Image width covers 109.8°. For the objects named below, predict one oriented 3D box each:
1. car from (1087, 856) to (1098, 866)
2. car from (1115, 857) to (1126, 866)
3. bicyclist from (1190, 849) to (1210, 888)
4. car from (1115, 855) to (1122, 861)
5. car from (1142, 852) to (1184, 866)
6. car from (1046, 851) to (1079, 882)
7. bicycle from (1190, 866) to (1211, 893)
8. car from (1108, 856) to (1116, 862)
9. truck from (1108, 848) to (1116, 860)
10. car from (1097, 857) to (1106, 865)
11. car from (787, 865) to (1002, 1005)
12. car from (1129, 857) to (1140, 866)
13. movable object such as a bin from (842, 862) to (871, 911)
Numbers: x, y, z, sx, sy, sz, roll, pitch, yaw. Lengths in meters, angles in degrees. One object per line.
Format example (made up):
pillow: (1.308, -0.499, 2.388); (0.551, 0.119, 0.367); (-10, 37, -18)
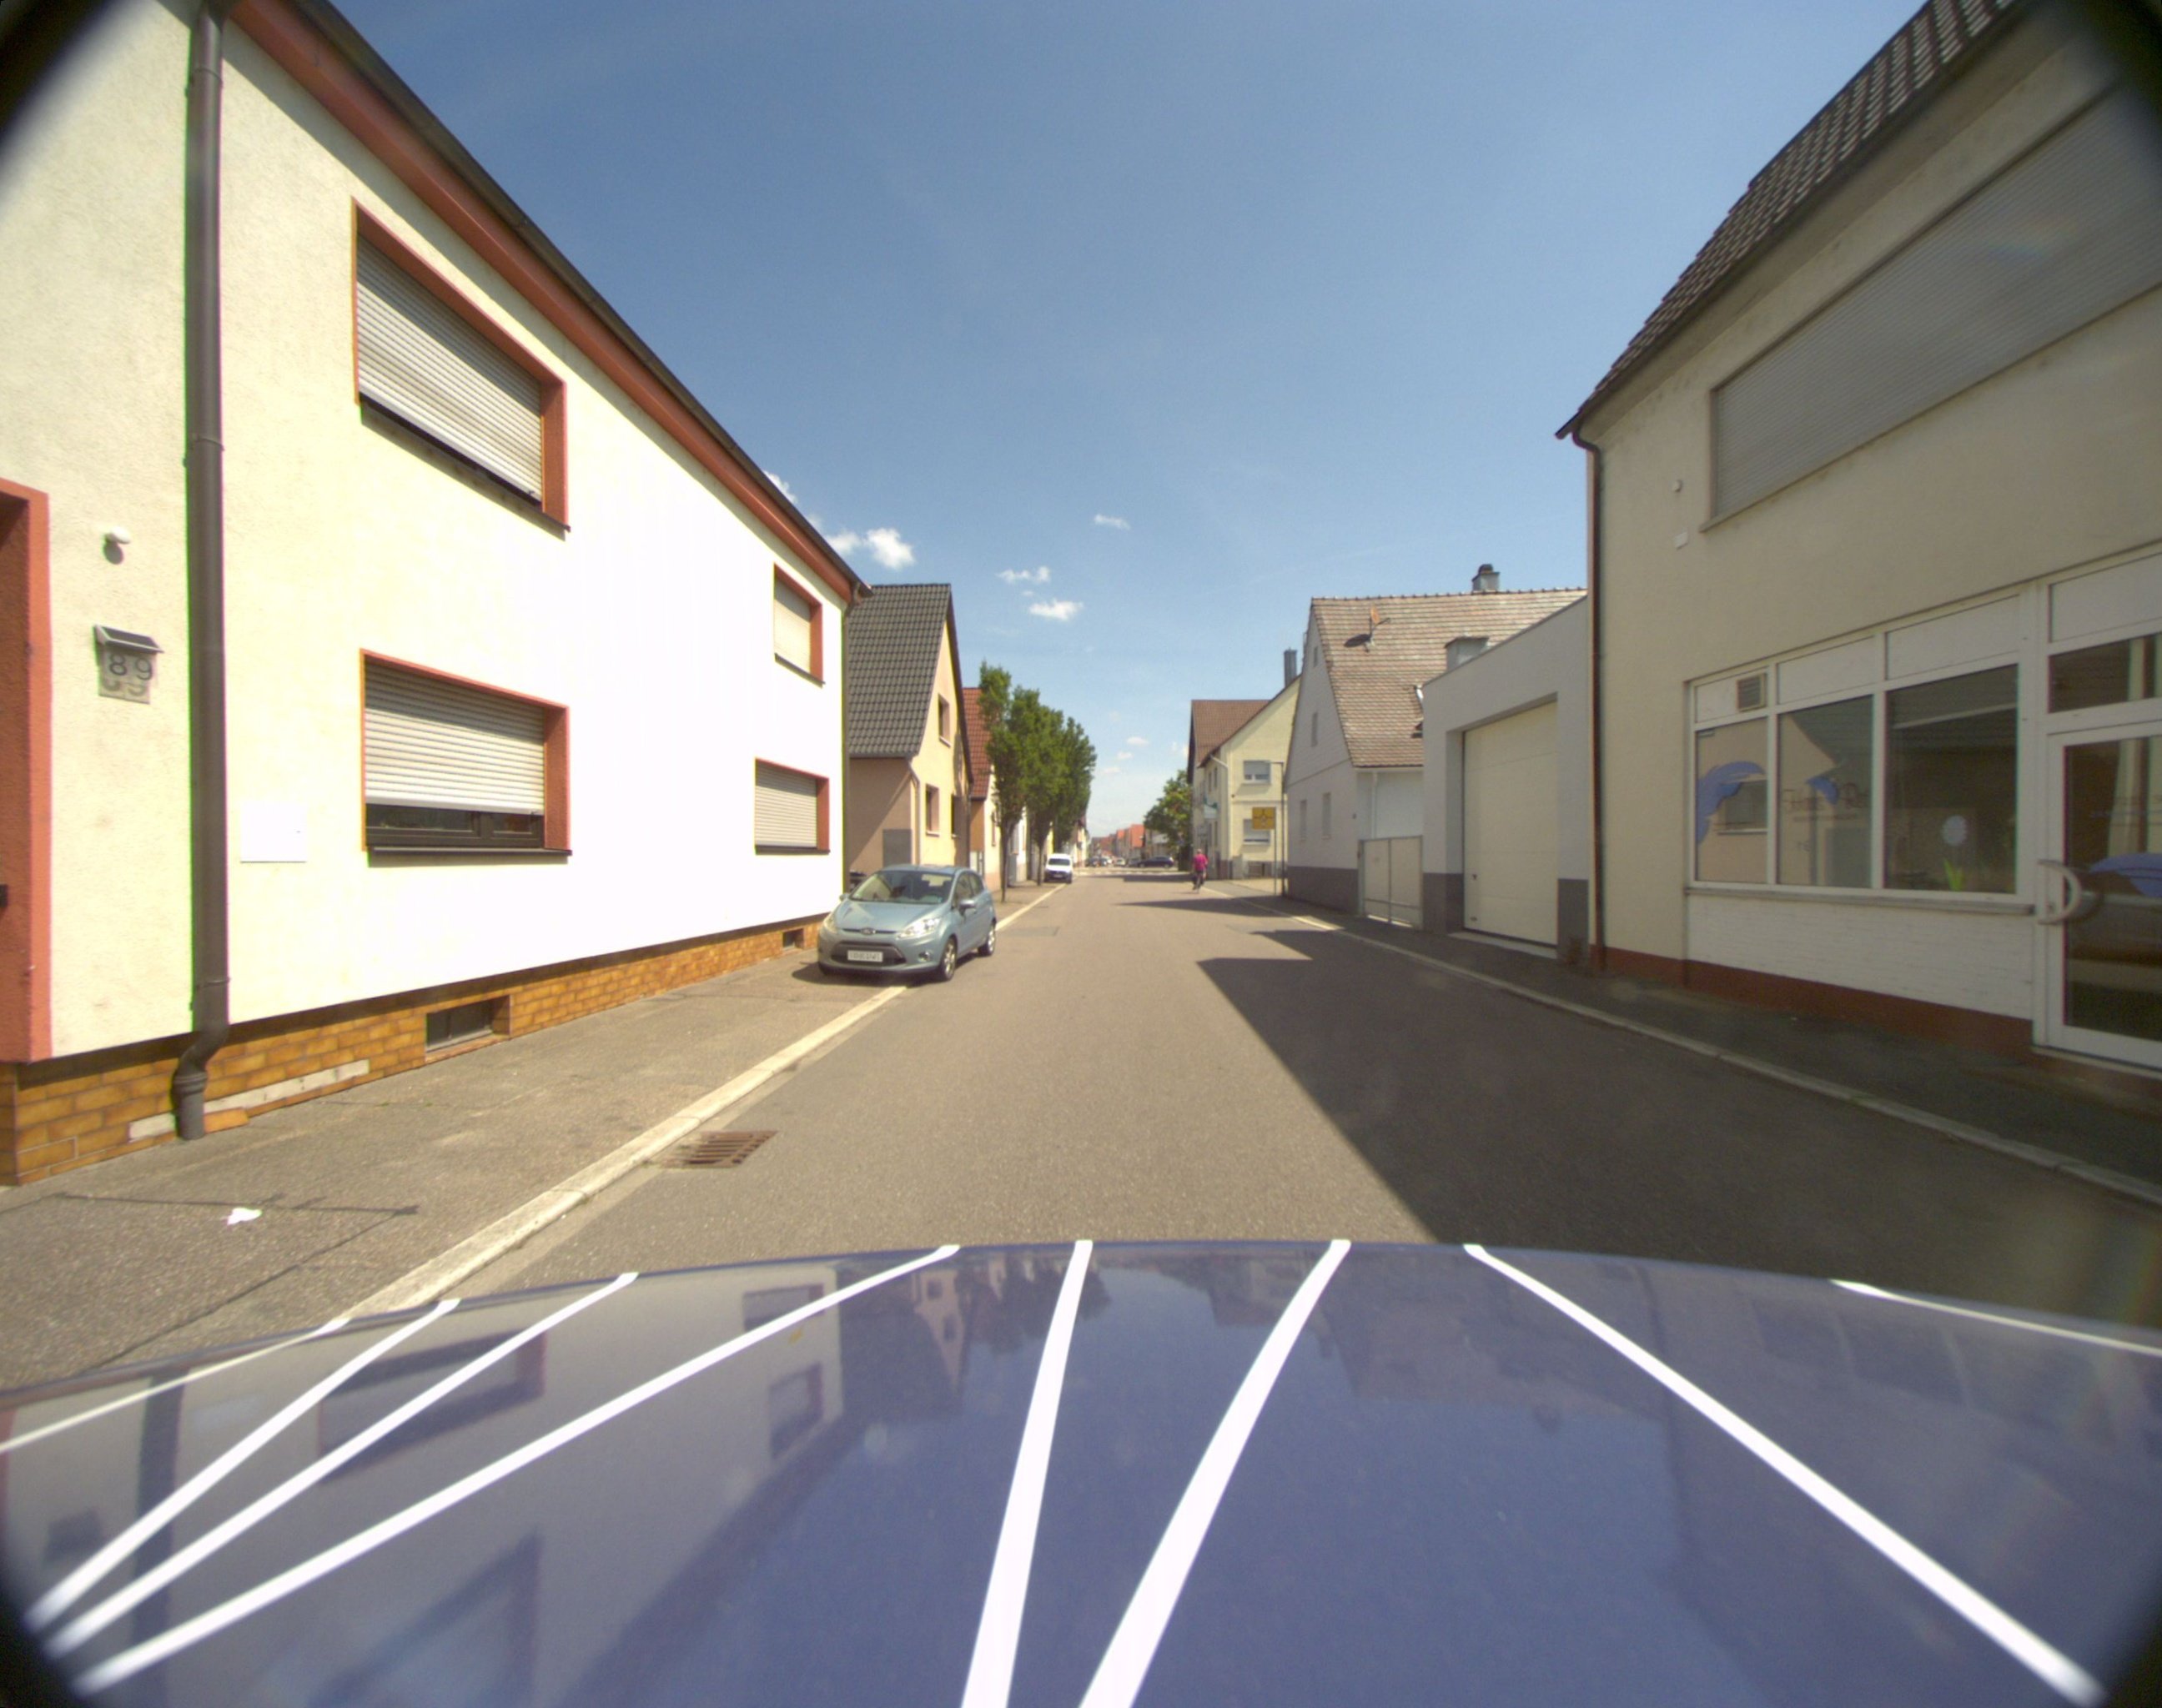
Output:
car: (1.759, 1.100, 115.728); (1.598, 1.385, 4.171); (-1, -2, 3)
car: (6.475, 1.209, 125.326); (1.598, 1.385, 4.168); (-2, 0, 2)
bicyclist: (5.046, 0.606, 32.157); (0.748, 1.627, 0.957); (-1, 1, 5)
car: (9.972, 1.050, 203.021); (1.726, 1.385, 4.171); (-1, -2, 4)
car: (9.903, 0.619, 91.646); (4.834, 1.636, 2.002); (-1, 0, 12)
car: (-1.105, 0.728, 47.659); (1.692, 1.832, 4.765); (2, 0, 2)
bicycle: (5.059, 1.076, 32.230); (0.744, 1.041, 1.941); (1, 0, 5)
car: (7.027, 1.129, 171.247); (1.598, 1.385, 4.171); (-1, -2, 3)
truck: (9.460, -0.033, 235.474); (1.999, 3.420, 7.075); (-2, 1, 0)
car: (3.570, 1.162, 131.108); (1.598, 1.385, 4.168); (-2, 0, 2)
car: (-2.382, 0.960, 10.719); (1.725, 1.473, 3.751); (3, 1, 6)
car: (8.889, 1.199, 125.829); (1.726, 1.385, 4.171); (-1, -2, 4)
movable object such as a bin: (-5.388, 0.771, 18.289); (0.493, 1.143, 0.698); (0, 1, 0)
